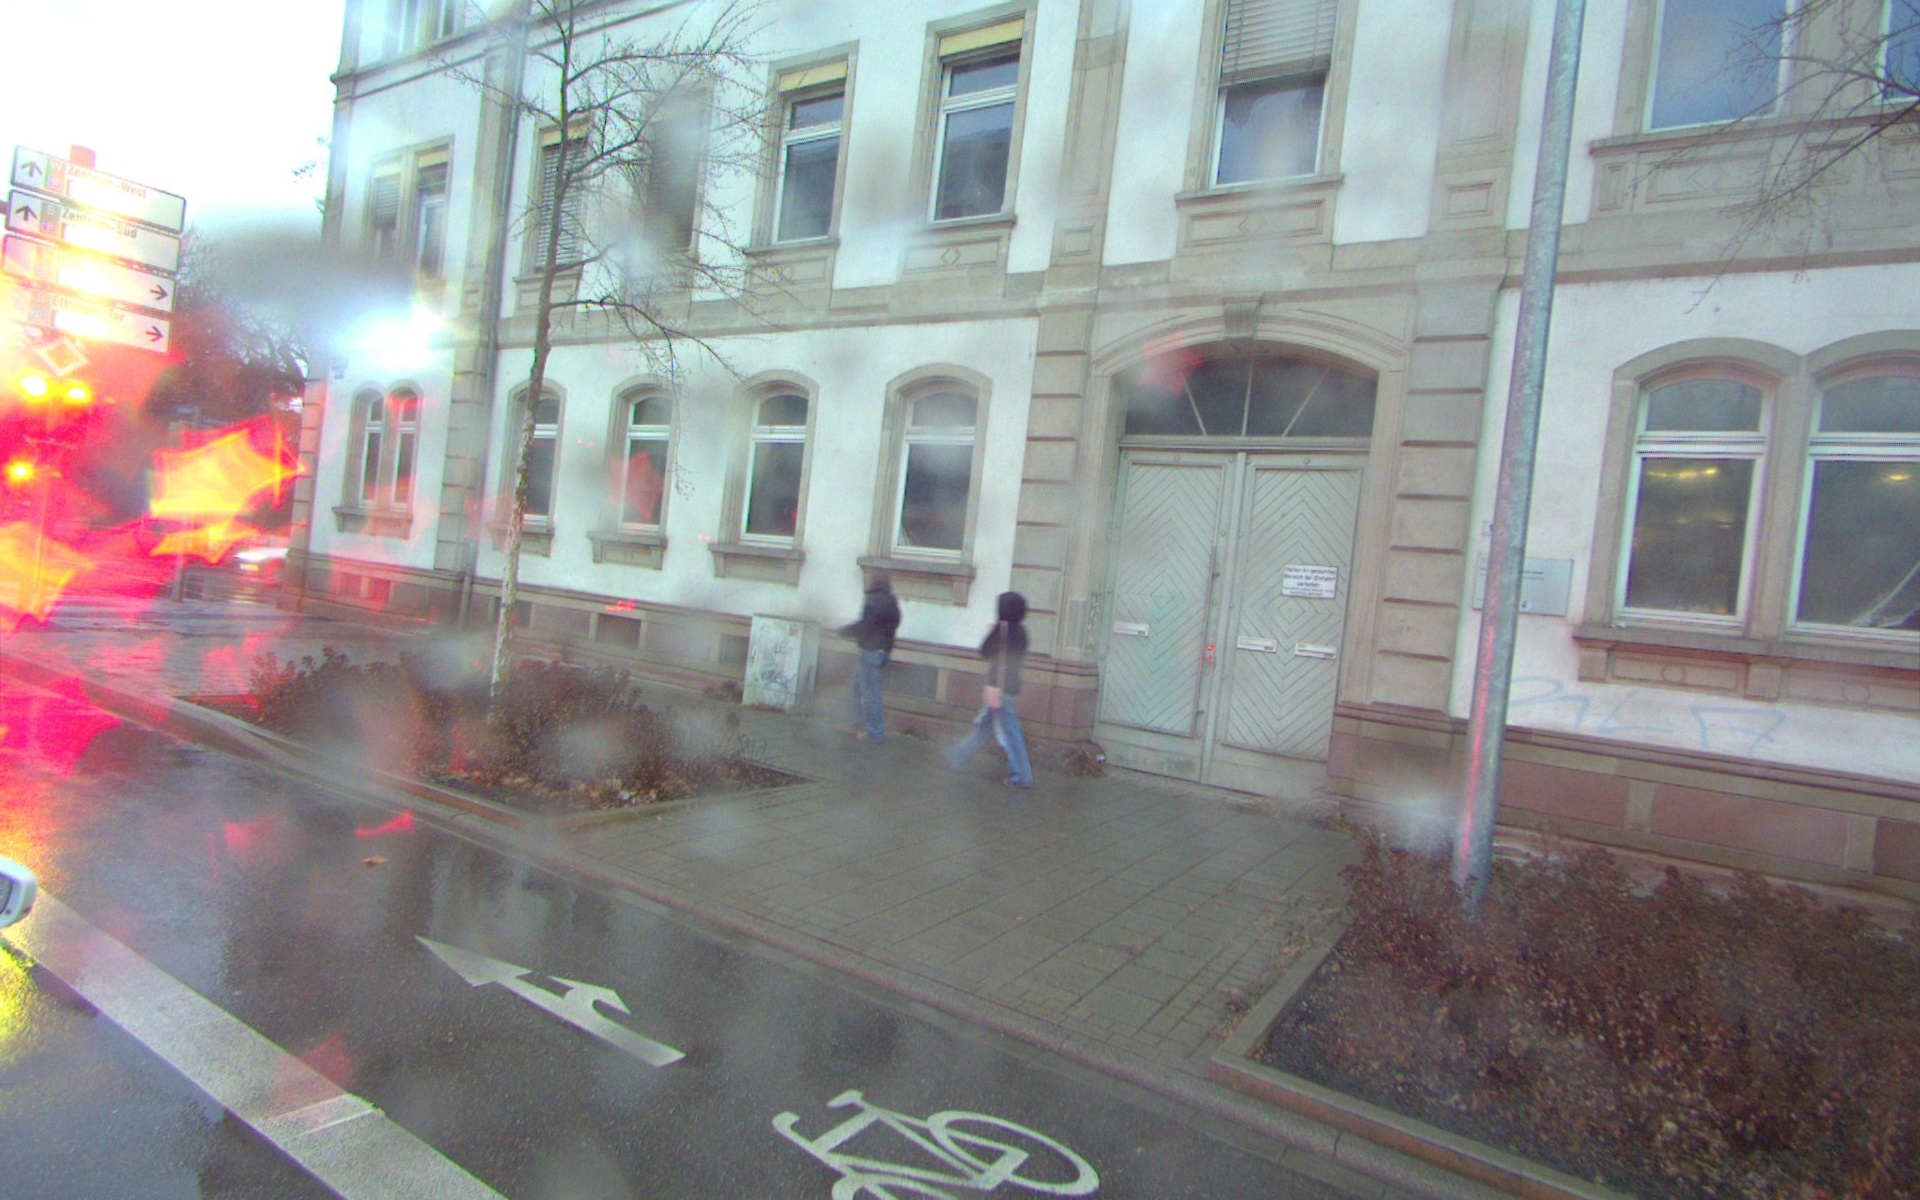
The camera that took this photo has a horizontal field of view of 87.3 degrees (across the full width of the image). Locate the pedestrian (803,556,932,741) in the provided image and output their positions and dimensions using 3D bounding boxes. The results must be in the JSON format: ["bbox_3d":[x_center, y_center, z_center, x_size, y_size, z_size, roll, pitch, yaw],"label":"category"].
[{"bbox_3d":[-0.905,0.478,9.936,0.696,1.694,0.868,7,1,36],"label":"pedestrian"}]

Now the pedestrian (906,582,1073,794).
[{"bbox_3d":[0.254,0.704,8.350,0.914,1.564,0.869,7,1,32],"label":"pedestrian"}]

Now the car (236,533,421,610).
[{"bbox_3d":[-17.371,-0.746,27.755,4.073,1.546,1.822,8,-2,-37],"label":"car"}]
